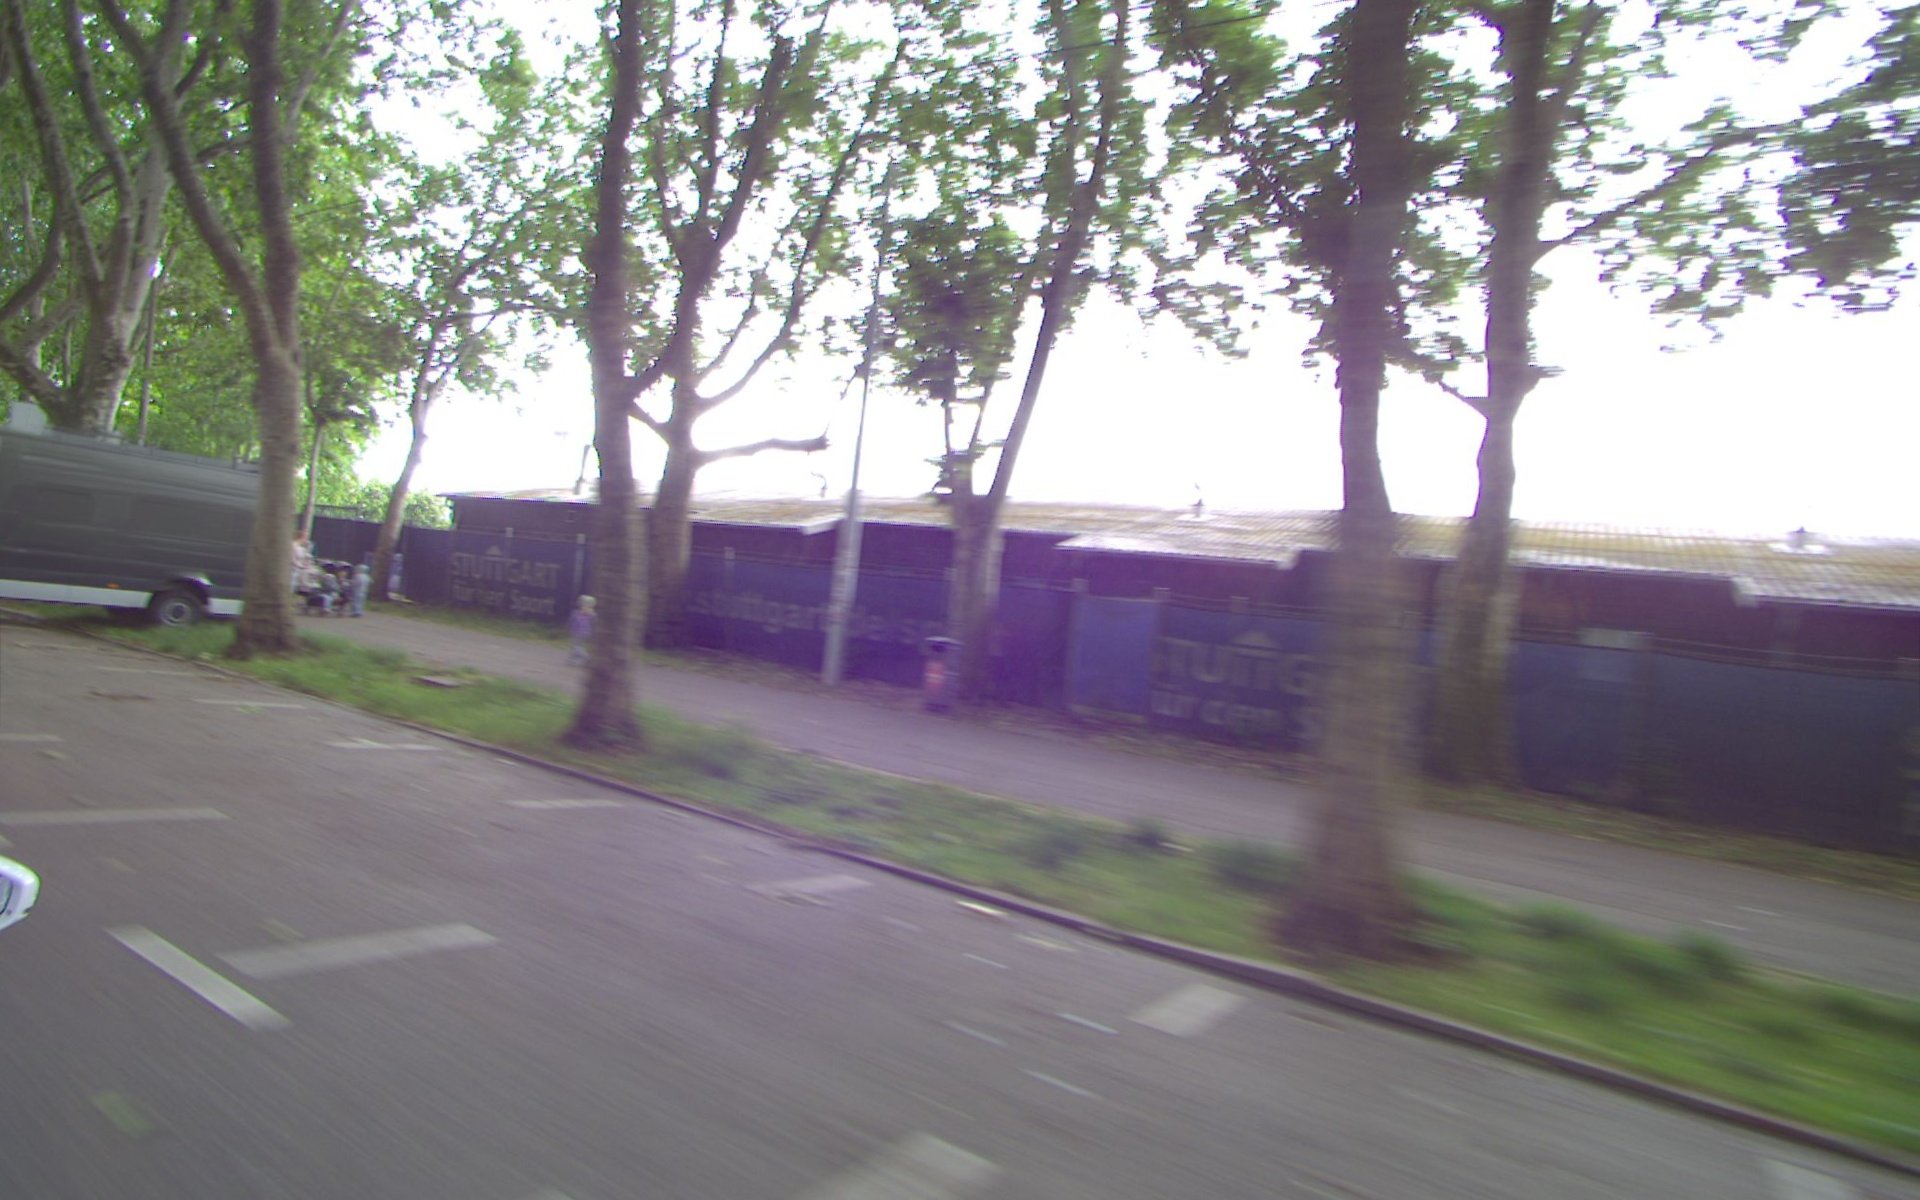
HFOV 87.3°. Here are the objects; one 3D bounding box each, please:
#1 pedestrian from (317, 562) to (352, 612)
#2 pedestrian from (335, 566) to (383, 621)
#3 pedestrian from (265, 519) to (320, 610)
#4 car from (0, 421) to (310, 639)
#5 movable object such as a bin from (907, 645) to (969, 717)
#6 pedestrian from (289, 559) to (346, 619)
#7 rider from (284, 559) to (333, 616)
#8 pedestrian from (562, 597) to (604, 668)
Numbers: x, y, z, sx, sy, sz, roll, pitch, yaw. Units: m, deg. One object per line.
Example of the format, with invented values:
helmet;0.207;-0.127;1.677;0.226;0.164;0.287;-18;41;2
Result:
pedestrian;-13.689;-0.277;22.028;0.390;1.047;0.418;7;-1;-9
pedestrian;-12.471;-0.134;20.881;0.579;1.062;0.592;7;2;34
pedestrian;-13.582;-0.721;20.474;0.611;1.763;0.639;7;2;34
car;-13.967;-1.149;14.855;2.093;2.725;6.894;6;-3;32
movable object such as a bin;-0.331;1.211;15.153;0.663;0.972;0.568;6;4;30
pedestrian;-12.877;-0.215;20.156;0.665;1.071;0.640;6;-2;33
rider;-13.161;-0.248;20.311;0.579;1.062;0.592;7;2;34
pedestrian;-6.151;0.532;16.408;0.412;1.098;0.395;6;2;35
